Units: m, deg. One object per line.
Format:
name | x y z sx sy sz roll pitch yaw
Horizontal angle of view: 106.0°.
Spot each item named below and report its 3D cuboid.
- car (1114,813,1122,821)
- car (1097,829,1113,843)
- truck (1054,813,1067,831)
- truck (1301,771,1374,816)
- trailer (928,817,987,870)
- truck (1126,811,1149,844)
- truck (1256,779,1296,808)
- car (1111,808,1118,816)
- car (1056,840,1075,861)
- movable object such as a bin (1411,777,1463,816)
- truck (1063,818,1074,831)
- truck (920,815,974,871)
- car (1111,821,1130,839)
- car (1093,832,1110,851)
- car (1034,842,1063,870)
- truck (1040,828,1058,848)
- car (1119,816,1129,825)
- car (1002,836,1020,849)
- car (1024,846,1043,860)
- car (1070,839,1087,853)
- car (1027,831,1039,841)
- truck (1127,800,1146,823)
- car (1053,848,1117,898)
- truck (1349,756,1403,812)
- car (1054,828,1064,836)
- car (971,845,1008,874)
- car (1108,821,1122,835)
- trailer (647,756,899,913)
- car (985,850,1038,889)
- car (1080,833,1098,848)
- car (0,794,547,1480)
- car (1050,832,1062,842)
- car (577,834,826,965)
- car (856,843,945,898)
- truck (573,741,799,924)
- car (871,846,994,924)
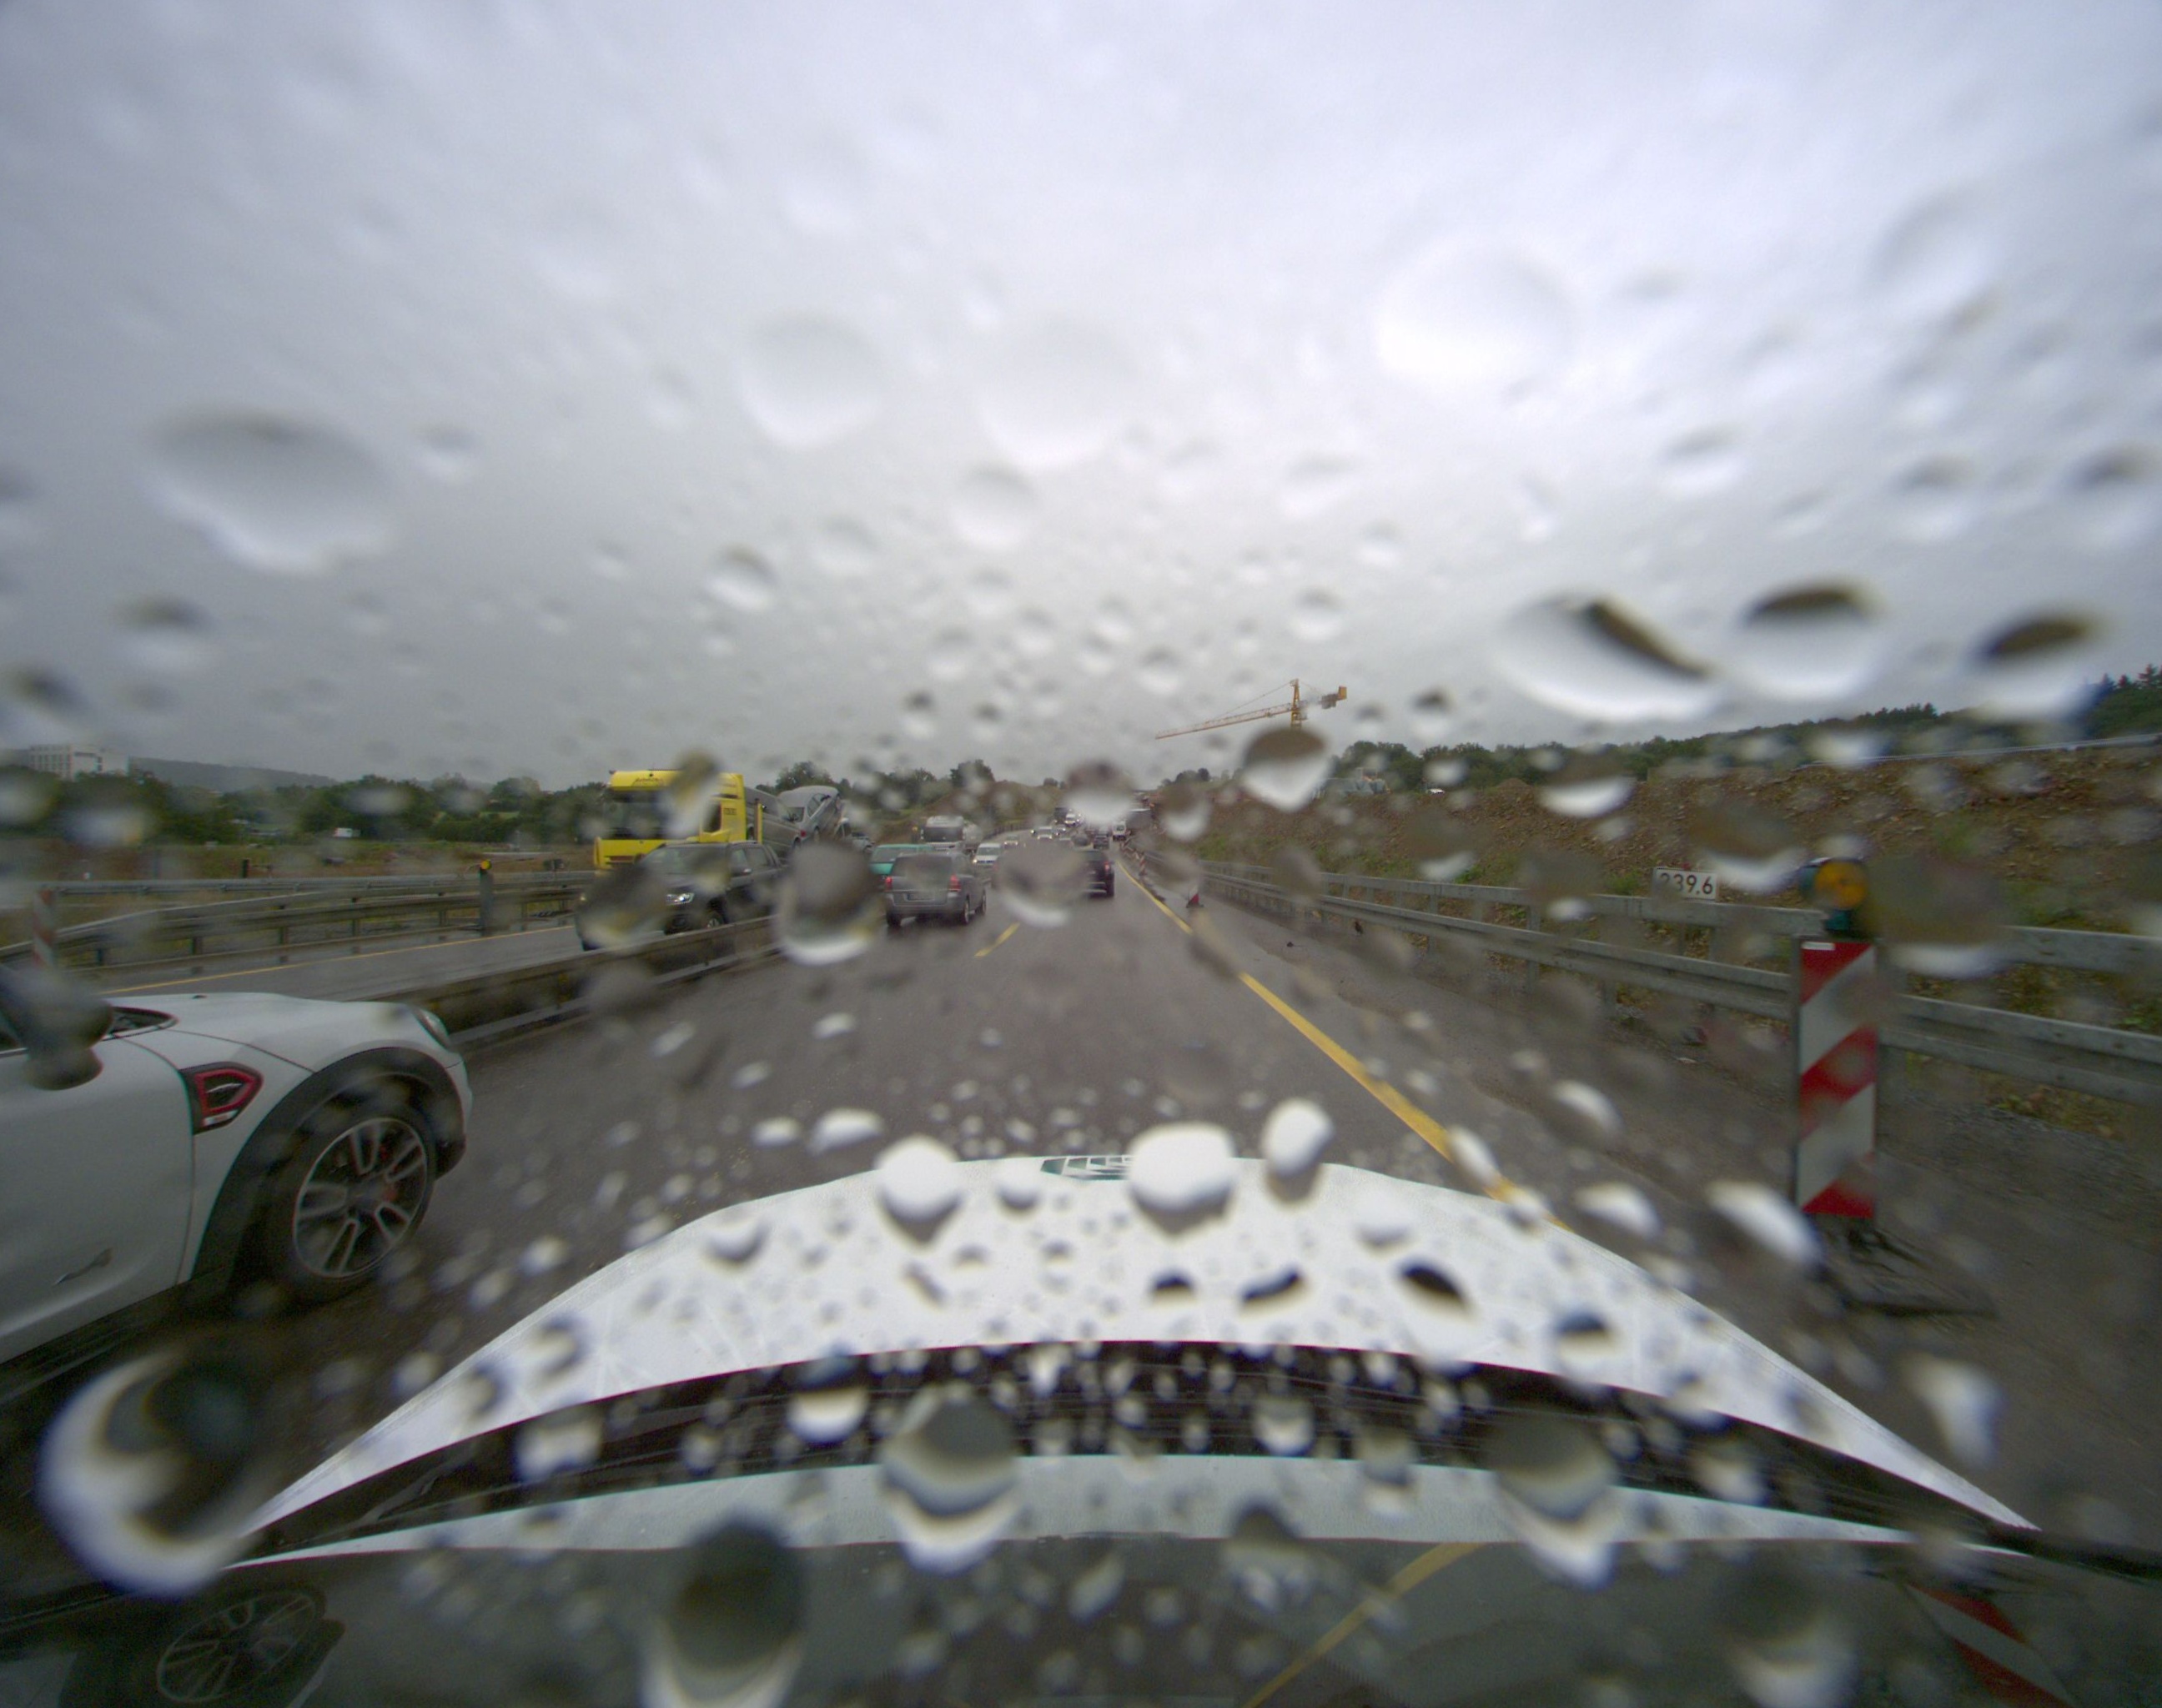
car | 9.404 -9.415 207.801 1.987 2.013 4.001 -1 2 1
car | 3.958 -2.921 132.429 1.981 2.163 4.152 -1 0 10
truck | -4.559 -7.306 183.907 2.633 3.969 9.214 -1 3 0
truck | 20.083 -4.652 64.420 3.382 2.875 8.966 -1 0 3
trailer | -9.290 -0.756 62.830 2.611 3.677 12.004 -1 0 0
truck | 9.682 -4.403 138.120 3.083 5.426 9.466 -1 0 9
truck | 20.791 -6.446 87.082 2.636 2.554 6.985 -1 0 0
car | 10.142 -12.594 244.995 1.987 2.013 4.000 -1 0 0
car | -1.675 -0.394 87.059 1.988 2.163 4.137 -1 0 -2
movable object such as a bin | 36.618 -5.857 83.971 2.335 3.599 6.555 -1 0 -2
truck | -2.517 -6.107 169.251 2.140 2.713 6.017 0 2 0
truck | -9.320 -0.733 57.223 2.612 3.677 6.595 -1 0 0
car | 5.845 -3.460 120.216 1.980 2.484 4.999 -1 0 12
car | 2.441 -1.505 97.381 1.986 2.163 4.142 -1 0 2
car | -2.373 0.168 60.952 1.987 2.013 3.893 -1 0 0
truck | -4.365 -2.180 111.305 2.071 2.576 5.962 -1 0 1
car | 9.869 -7.588 186.163 1.987 2.013 4.001 -1 2 1
car | -8.589 -1.400 99.999 1.782 1.546 4.001 -1 1 1
car | -5.218 -0.144 90.801 1.766 1.504 4.679 -1 1 1
car | -0.292 -1.062 106.768 1.986 1.761 3.816 -1 0 2
car | -8.045 -3.017 136.988 1.780 1.538 4.313 -1 1 1
truck | 13.561 -10.342 198.965 3.791 5.042 12.921 -1 0 0
car | 0.187 0.612 28.710 2.073 1.600 4.142 -1 0 2
truck | 24.880 -5.805 68.930 2.365 4.218 5.979 -1 0 0
car | -3.986 -3.971 146.515 1.671 1.523 4.346 -1 2 1
car | -5.890 0.337 52.719 1.859 1.800 4.163 -1 0 0
car | 5.962 -4.515 141.858 1.981 2.163 4.152 -1 0 10
trailer | -9.687 -0.527 28.785 2.739 4.042 15.362 -1 0 1
car | -3.030 0.634 36.340 1.987 1.600 4.139 -1 0 0
car | 1.176 -1.929 118.699 1.982 2.163 4.151 -1 0 9
car | -3.443 0.673 1.610 1.809 1.600 4.310 -1 1 2
car | -4.028 -2.790 130.905 1.780 1.538 4.313 -1 1 1
car | -6.236 0.644 14.221 1.781 1.805 5.191 -2 0 1
car | -6.214 0.508 28.661 1.986 1.759 4.689 -1 0 1
truck | -9.864 -0.489 21.215 2.739 4.062 6.149 -1 0 1
car | -3.326 0.639 19.127 1.986 1.600 4.142 -1 0 2
